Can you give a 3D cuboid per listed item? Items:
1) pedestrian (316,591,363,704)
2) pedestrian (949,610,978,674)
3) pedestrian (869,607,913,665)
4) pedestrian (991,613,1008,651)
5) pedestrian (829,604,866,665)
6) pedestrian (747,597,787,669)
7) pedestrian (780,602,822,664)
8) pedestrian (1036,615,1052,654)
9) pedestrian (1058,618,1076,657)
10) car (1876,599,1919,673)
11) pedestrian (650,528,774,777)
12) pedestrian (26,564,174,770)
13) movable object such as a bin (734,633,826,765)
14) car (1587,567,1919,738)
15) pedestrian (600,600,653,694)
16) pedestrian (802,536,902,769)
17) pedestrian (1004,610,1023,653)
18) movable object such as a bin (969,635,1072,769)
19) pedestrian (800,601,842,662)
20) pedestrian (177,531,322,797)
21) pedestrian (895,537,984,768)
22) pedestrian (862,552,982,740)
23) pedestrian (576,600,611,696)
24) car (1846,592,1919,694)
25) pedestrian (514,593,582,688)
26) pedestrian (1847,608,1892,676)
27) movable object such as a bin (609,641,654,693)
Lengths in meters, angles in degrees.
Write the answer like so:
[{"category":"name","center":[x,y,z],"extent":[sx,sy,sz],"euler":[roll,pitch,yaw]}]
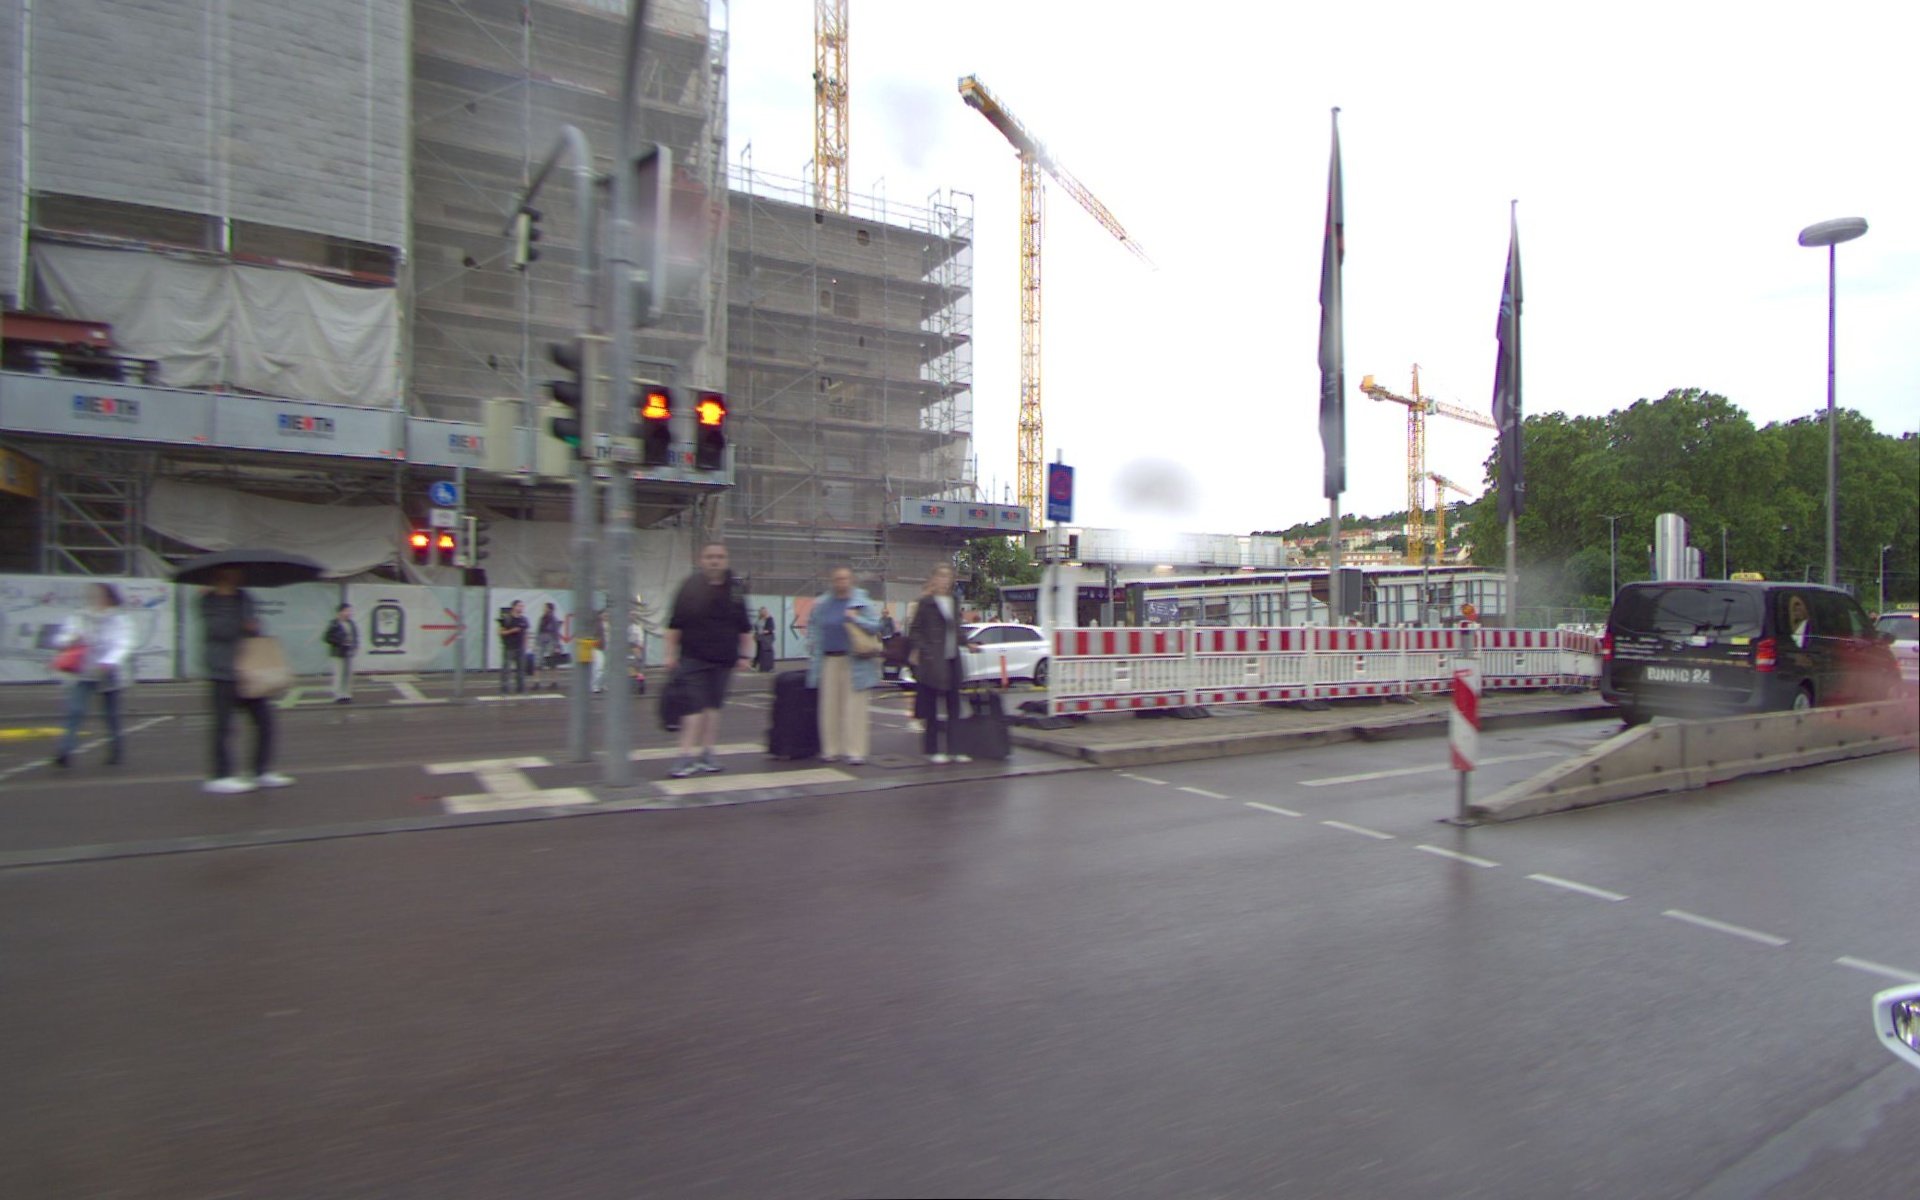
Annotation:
[{"category":"pedestrian","center":[-10.607,0.796,17.163],"extent":[0.634,1.865,0.768],"euler":[1,-1,-35]},{"category":"pedestrian","center":[0.108,1.277,30.660],"extent":[0.843,1.906,0.717],"euler":[1,-2,0]},{"category":"pedestrian","center":[-2.068,1.070,30.044],"extent":[1.008,1.685,0.836],"euler":[0,-2,24]},{"category":"pedestrian","center":[2.028,1.657,51.527],"extent":[0.788,1.906,0.659],"euler":[1,-2,0]},{"category":"pedestrian","center":[-3.561,1.092,31.829],"extent":[1.007,1.906,0.836],"euler":[1,-2,2]},{"category":"pedestrian","center":[-5.043,0.864,26.268],"extent":[0.965,1.812,0.834],"euler":[1,-2,-13]},{"category":"pedestrian","center":[-5.027,1.052,31.820],"extent":[1.018,1.906,0.828],"euler":[2,-2,-36]},{"category":"pedestrian","center":[4.139,1.705,49.585],"extent":[0.718,1.906,0.640],"euler":[1,-2,0]},{"category":"pedestrian","center":[5.243,1.838,49.284],"extent":[0.780,1.906,0.494],"euler":[1,-2,0]},{"category":"car","center":[28.996,1.077,29.475],"extent":[5.315,2.040,1.981],"euler":[2,0,-35]},{"category":"pedestrian","center":[-2.043,0.413,8.248],"extent":[0.685,1.911,0.823],"euler":[1,-1,-39]},{"category":"pedestrian","center":[-7.454,0.559,8.752],"extent":[0.827,1.686,0.710],"euler":[1,-1,-30]},{"category":"movable object such as a bin","center":[-1.562,0.845,8.804],"extent":[0.735,1.091,0.744],"euler":[1,-1,-7]},{"category":"car","center":[10.523,0.626,13.188],"extent":[5.009,1.870,1.981],"euler":[2,0,-34]},{"category":"pedestrian","center":[-6.845,0.951,20.627],"extent":[0.868,1.865,0.694],"euler":[2,0,-31]},{"category":"pedestrian","center":[-0.944,0.439,8.787],"extent":[0.802,1.911,1.006],"euler":[1,-1,-7]},{"category":"pedestrian","center":[2.398,1.410,44.947],"extent":[0.785,1.906,0.662],"euler":[1,-2,0]},{"category":"movable object such as a bin","center":[0.514,0.872,8.918],"extent":[0.735,1.091,1.006],"euler":[1,-1,-7]},{"category":"pedestrian","center":[-4.481,1.020,32.442],"extent":[1.008,1.906,0.836],"euler":[0,-2,22]},{"category":"pedestrian","center":[-4.976,0.432,7.076],"extent":[0.747,1.758,0.580],"euler":[1,-1,-30]},{"category":"pedestrian","center":[-0.198,0.449,8.852],"extent":[0.670,1.911,1.006],"euler":[1,-1,-7]},{"category":"pedestrian","center":[-0.416,0.479,10.789],"extent":[1.015,1.906,0.830],"euler":[1,0,-27]},{"category":"pedestrian","center":[-7.307,0.947,20.007],"extent":[0.522,1.865,0.694],"euler":[1,-1,-31]},{"category":"car","center":[18.210,0.794,18.394],"extent":[4.724,1.719,1.812],"euler":[2,0,-34]},{"category":"pedestrian","center":[-8.296,0.803,20.257],"extent":[1.022,1.865,0.985],"euler":[1,-1,-8]},{"category":"pedestrian","center":[24.474,1.128,27.031],"extent":[0.811,1.777,0.632],"euler":[2,0,-27]},{"category":"movable object such as a bin","center":[-6.522,1.318,19.935],"extent":[0.713,0.983,0.755],"euler":[1,-1,-31]}]
